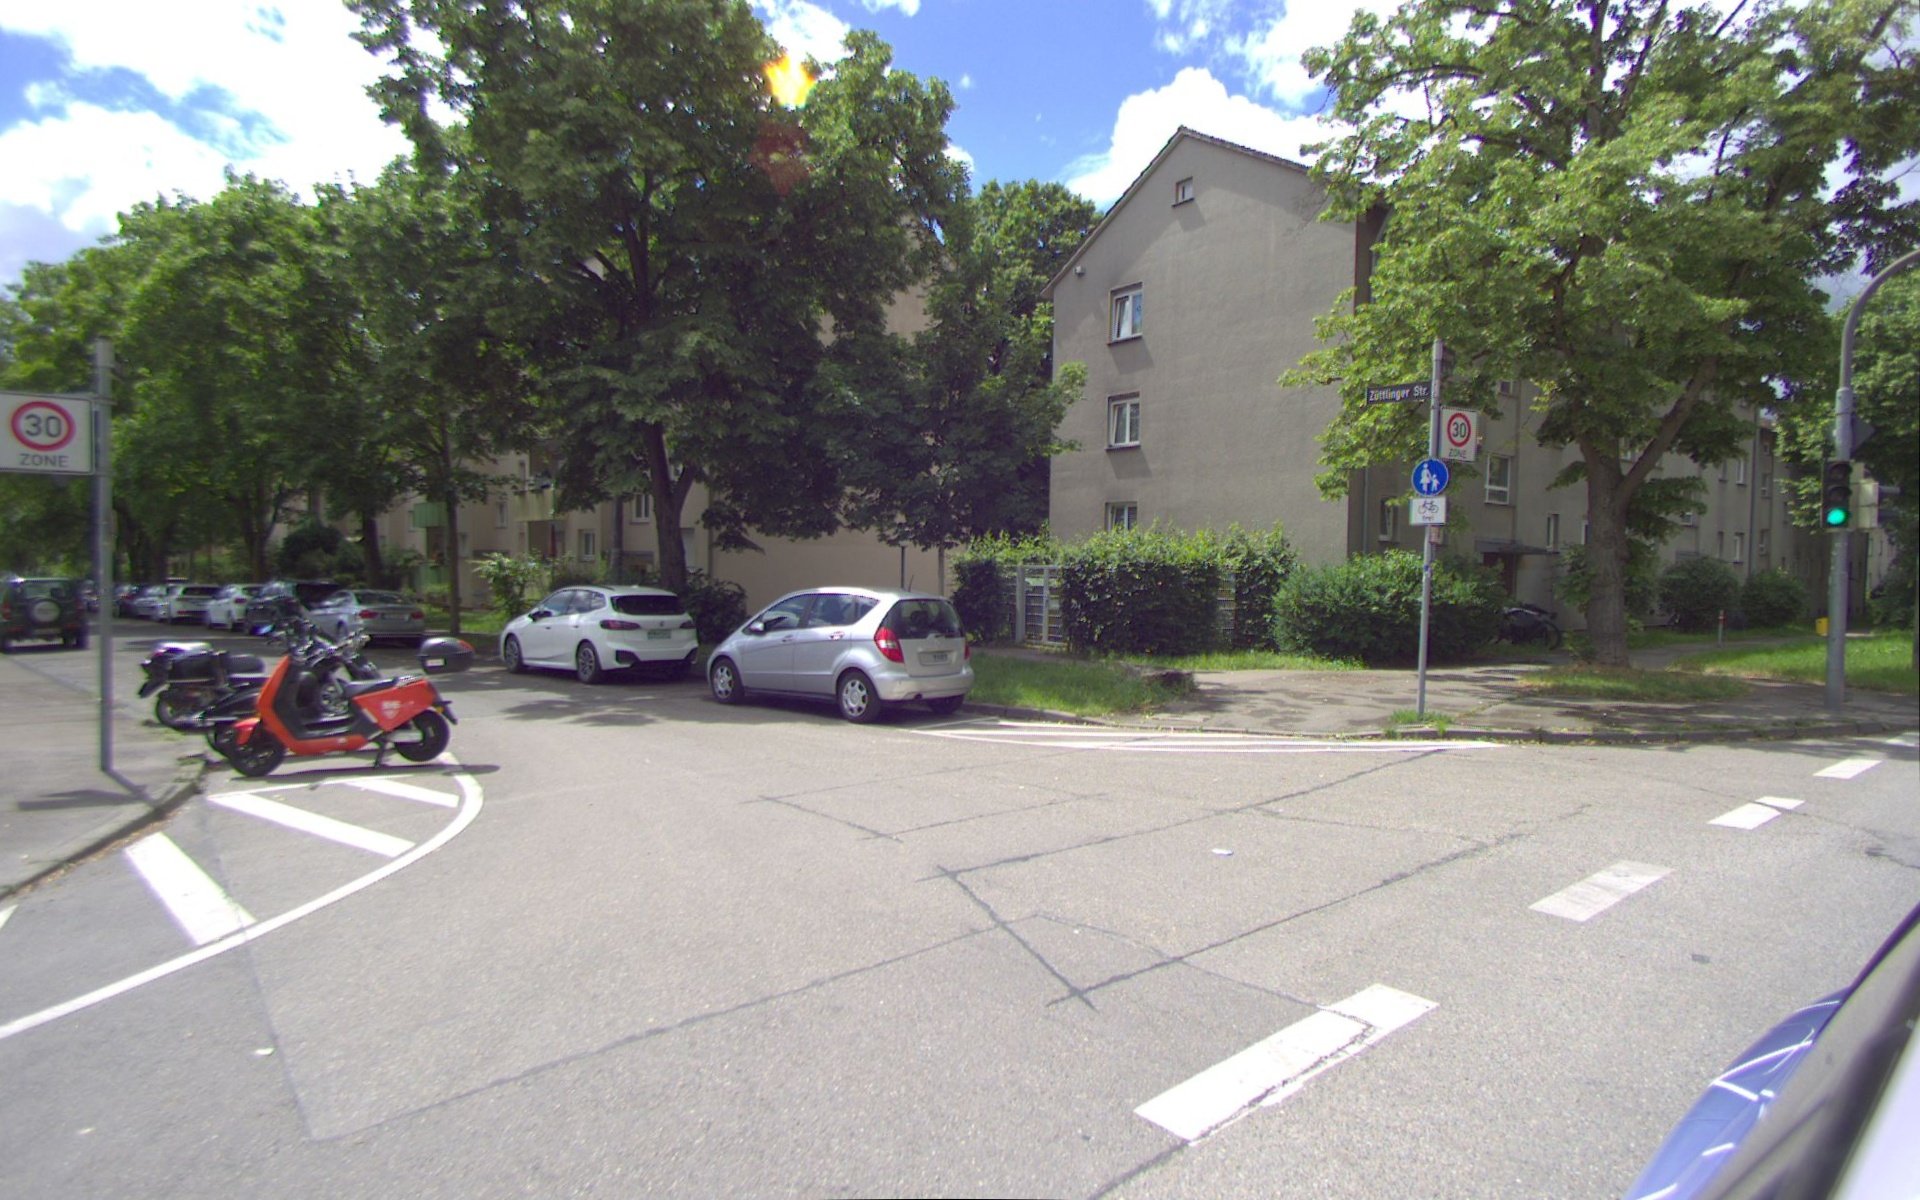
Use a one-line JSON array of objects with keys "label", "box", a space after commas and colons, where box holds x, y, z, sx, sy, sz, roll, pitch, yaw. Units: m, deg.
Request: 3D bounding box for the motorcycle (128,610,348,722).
[{"label": "motorcycle", "box": [-8.196, 0.715, 11.602, 1.952, 1.163, 0.662, -1, 0, -24]}]

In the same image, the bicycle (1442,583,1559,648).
[{"label": "bicycle", "box": [11.696, 0.301, 21.970, 0.667, 1.298, 2.175, 0, 2, -33]}]

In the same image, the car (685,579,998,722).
[{"label": "car", "box": [-1.649, 0.539, 13.332, 3.982, 1.573, 1.911, 1, 1, 41]}]

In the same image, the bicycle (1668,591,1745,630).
[{"label": "bicycle", "box": [22.573, 0.308, 30.622, 0.446, 1.098, 1.803, 1, 2, -37]}]

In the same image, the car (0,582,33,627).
[{"label": "car", "box": [-31.250, 0.120, 32.537, 3.942, 1.335, 1.716, 2, 2, 41]}]

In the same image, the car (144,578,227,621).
[{"label": "car", "box": [-27.912, -0.043, 36.434, 3.941, 1.428, 1.574, 2, 2, 40]}]

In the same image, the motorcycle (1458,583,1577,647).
[{"label": "motorcycle", "box": [12.285, 0.294, 22.377, 0.667, 1.298, 2.213, 0, 2, -33]}]

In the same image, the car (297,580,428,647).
[{"label": "car", "box": [-15.090, 0.269, 25.478, 3.941, 1.525, 1.666, 2, 2, 40]}]

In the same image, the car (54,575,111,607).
[{"label": "car", "box": [-44.297, -0.485, 51.061, 3.941, 1.524, 1.574, 2, 2, 40]}]

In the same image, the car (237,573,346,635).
[{"label": "car", "box": [-19.052, 0.066, 28.778, 3.941, 1.640, 1.574, 2, 2, 40]}]

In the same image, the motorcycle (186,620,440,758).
[{"label": "motorcycle", "box": [-6.081, 0.798, 9.652, 1.952, 1.163, 0.662, -1, 0, -24]}]

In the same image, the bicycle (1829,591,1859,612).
[{"label": "bicycle", "box": [48.213, 0.075, 55.196, 0.430, 1.094, 1.748, 0, 1, 12]}]

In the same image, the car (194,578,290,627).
[{"label": "car", "box": [-22.865, 0.045, 32.181, 3.941, 1.428, 1.574, 2, 2, 40]}]

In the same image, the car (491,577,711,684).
[{"label": "car", "box": [-6.184, 0.437, 17.257, 4.000, 1.583, 1.756, 2, 0, 40]}]

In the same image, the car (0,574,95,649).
[{"label": "car", "box": [-22.353, 0.217, 24.421, 3.942, 1.660, 1.716, 2, 2, 41]}]

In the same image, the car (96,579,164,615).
[{"label": "car", "box": [-35.279, -0.159, 42.981, 3.941, 1.428, 1.574, 2, 2, 40]}]

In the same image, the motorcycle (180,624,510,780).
[{"label": "motorcycle", "box": [-5.209, 0.824, 8.782, 2.374, 1.163, 0.662, -1, 0, -24]}]

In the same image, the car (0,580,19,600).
[{"label": "car", "box": [-77.976, -0.815, 82.408, 3.941, 1.524, 1.574, 2, 2, 40]}]

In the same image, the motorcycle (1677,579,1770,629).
[{"label": "motorcycle", "box": [23.451, 0.096, 31.116, 0.997, 1.447, 2.006, 1, 2, -31]}]
